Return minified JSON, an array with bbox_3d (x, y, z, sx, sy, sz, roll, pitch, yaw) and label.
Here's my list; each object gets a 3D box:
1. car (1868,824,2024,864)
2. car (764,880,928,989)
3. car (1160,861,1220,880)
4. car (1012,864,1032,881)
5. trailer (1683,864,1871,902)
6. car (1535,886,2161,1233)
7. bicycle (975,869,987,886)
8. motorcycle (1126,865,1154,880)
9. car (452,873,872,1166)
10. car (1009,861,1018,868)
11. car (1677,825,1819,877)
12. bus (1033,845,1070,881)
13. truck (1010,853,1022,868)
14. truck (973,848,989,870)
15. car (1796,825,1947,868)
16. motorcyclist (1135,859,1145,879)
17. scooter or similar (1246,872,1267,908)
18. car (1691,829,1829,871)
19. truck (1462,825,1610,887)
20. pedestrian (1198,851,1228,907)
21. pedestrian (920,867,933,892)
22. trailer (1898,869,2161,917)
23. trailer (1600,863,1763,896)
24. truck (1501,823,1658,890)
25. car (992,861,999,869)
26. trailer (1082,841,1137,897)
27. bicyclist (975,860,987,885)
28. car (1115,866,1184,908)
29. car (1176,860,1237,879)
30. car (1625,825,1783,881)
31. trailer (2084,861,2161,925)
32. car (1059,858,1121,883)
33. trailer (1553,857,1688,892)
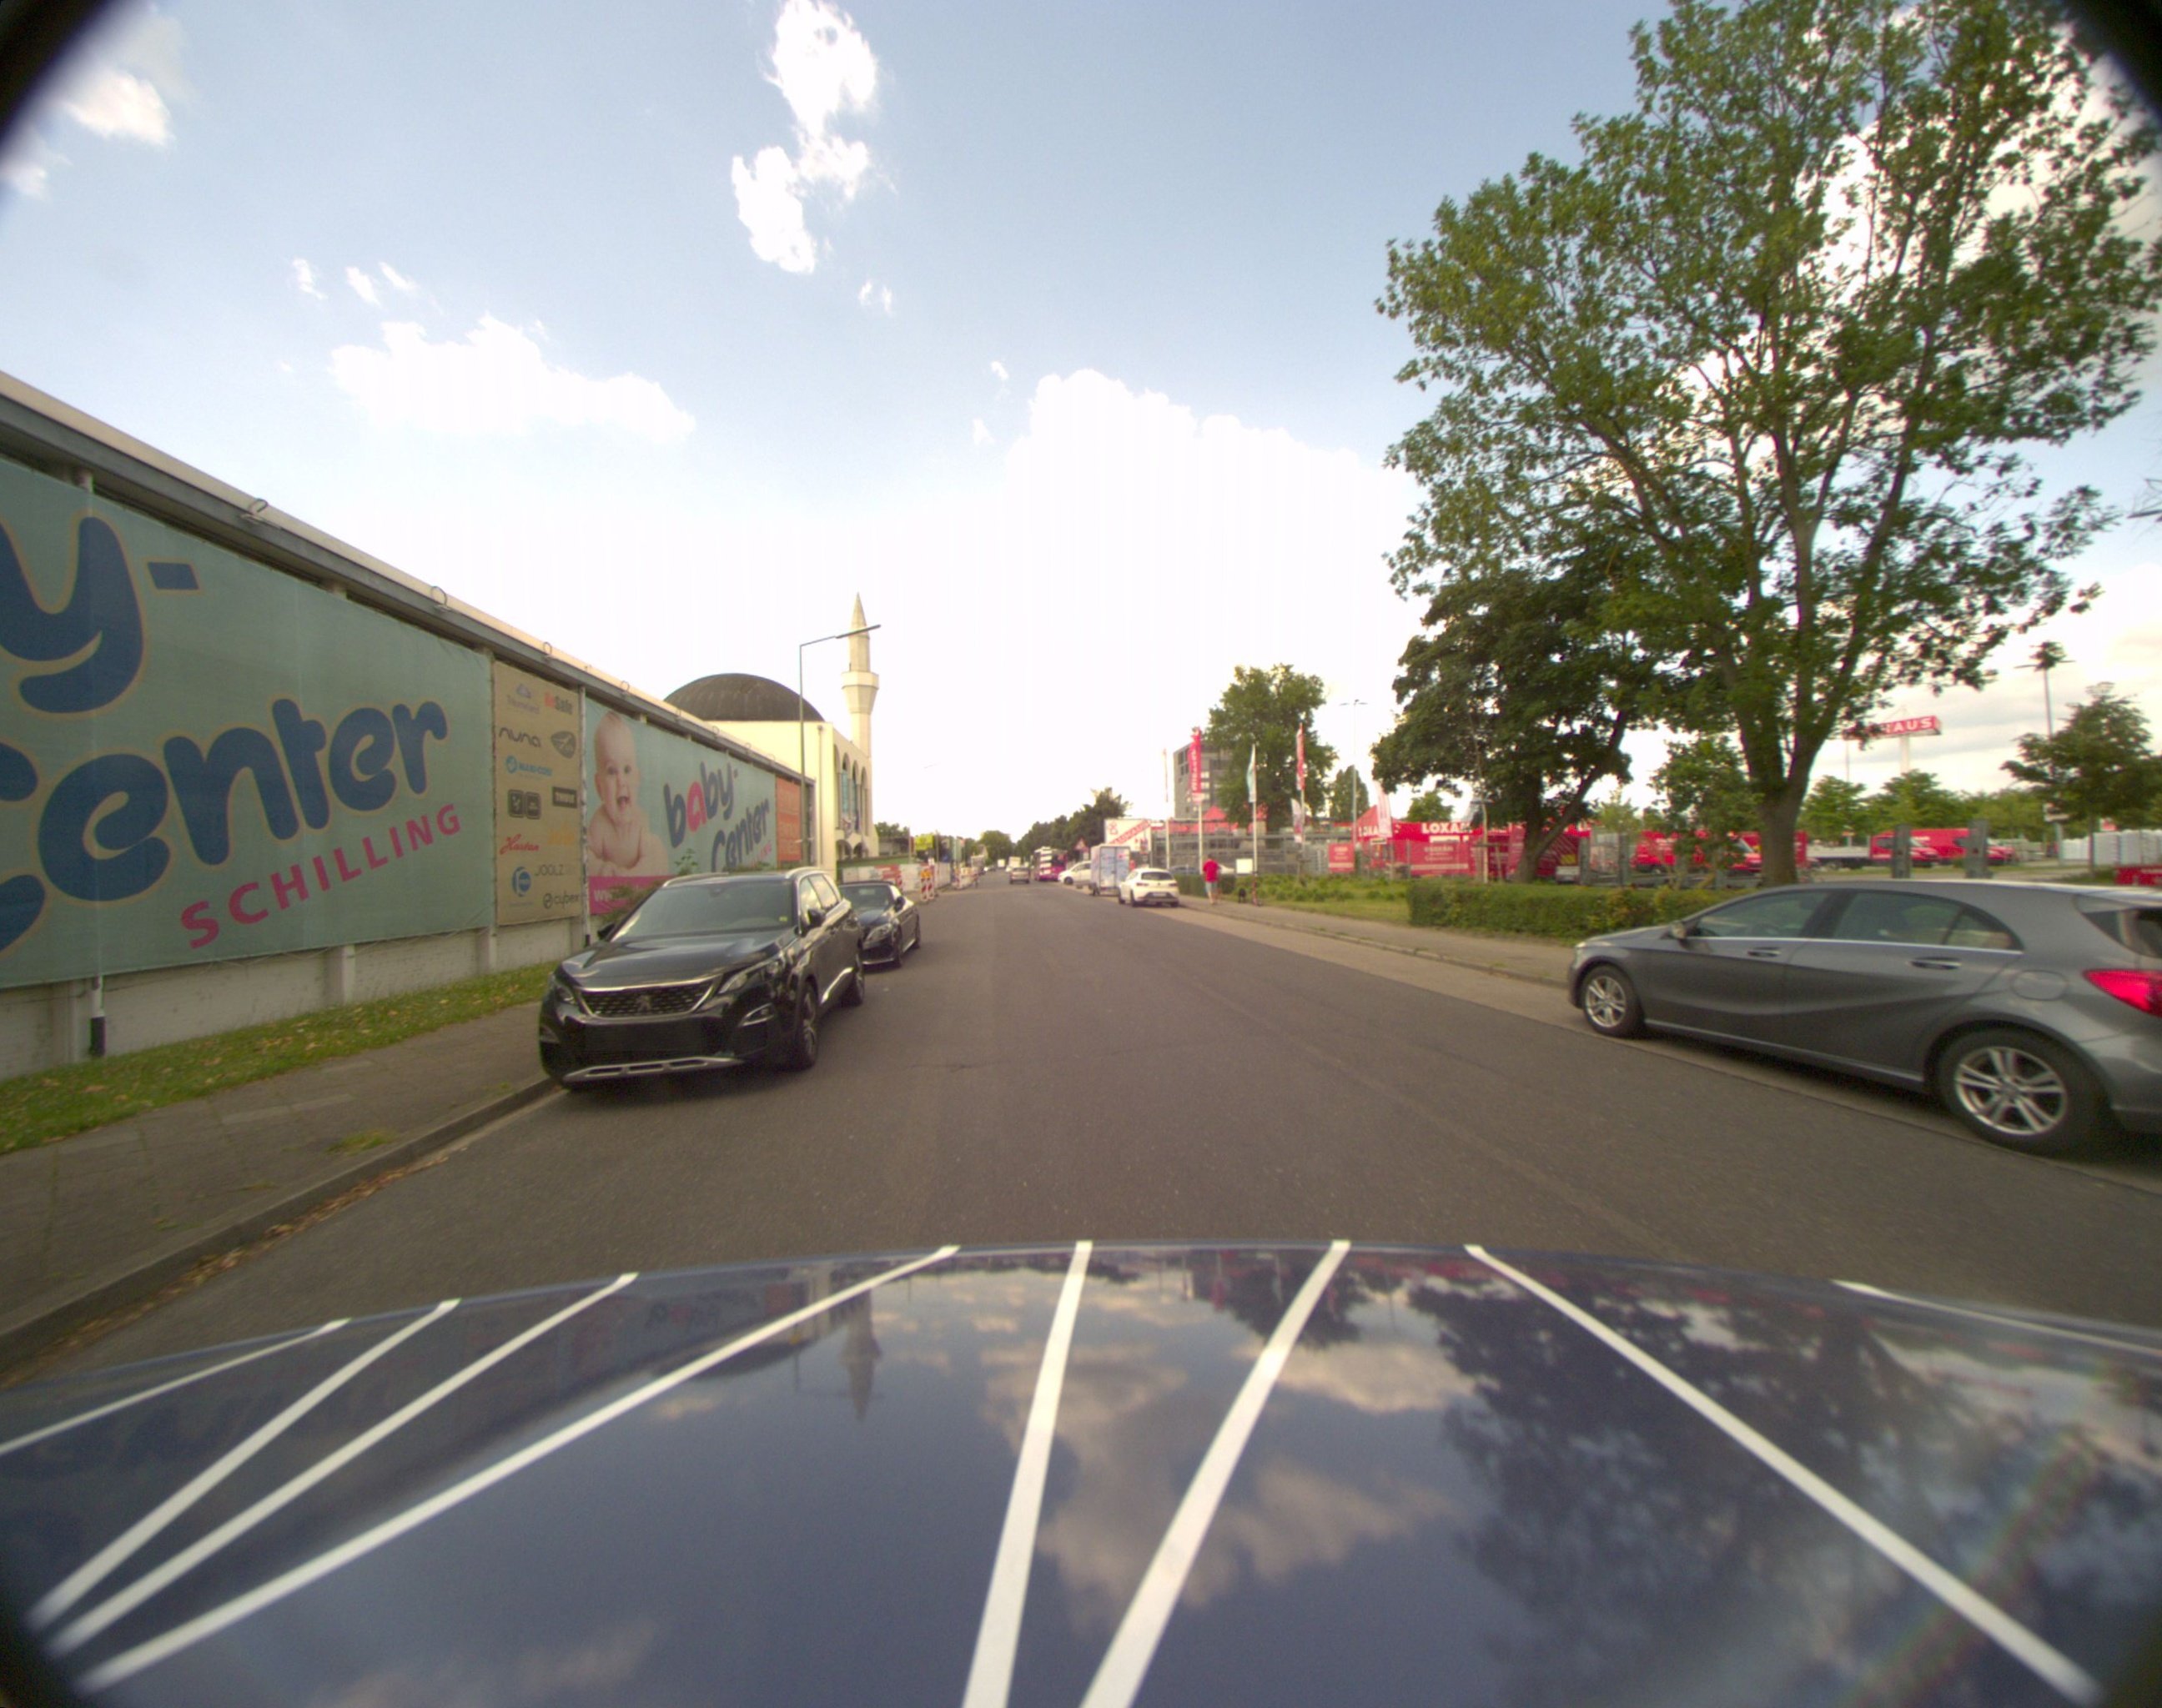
[{"bbox_3d":[55.132,-0.669,48.716,2.273,2.402,6.432,-2,1,-7],"label":"car"},{"bbox_3d":[-3.949,1.266,13.612,1.813,1.382,4.586,-4,0,-5],"label":"car"},{"bbox_3d":[8.556,1.309,59.829,4.379,1.369,1.928,-1,0,-7],"label":"car"},{"bbox_3d":[-5.161,1.605,66.370,1.596,1.456,3.759,0,-1,-7],"label":"car"},{"bbox_3d":[21.146,0.853,23.174,4.248,0.907,2.021,-2,1,-8],"label":"trailer"},{"bbox_3d":[5.507,1.021,5.356,1.715,1.411,4.329,1,-1,-5],"label":"car"},{"bbox_3d":[-7.589,1.777,57.827,0.800,1.173,2.625,-3,0,-7],"label":"bicycle"},{"bbox_3d":[4.950,1.524,64.099,2.228,1.206,0.994,-1,0,-6],"label":"motorcycle"},{"bbox_3d":[-3.275,1.090,7.153,1.814,1.655,4.637,-4,0,-8],"label":"car"},{"bbox_3d":[-14.612,2.184,164.258,1.688,1.461,3.610,0,-1,-7],"label":"car"},{"bbox_3d":[35.663,-0.223,40.904,2.273,2.579,5.719,-2,1,-6],"label":"car"},{"bbox_3d":[-3.253,0.955,79.584,2.671,3.402,13.211,2,-1,-7],"label":"bus"},{"bbox_3d":[-16.367,1.561,190.770,2.756,3.701,7.167,0,0,-7],"label":"truck"},{"bbox_3d":[-19.823,1.074,150.952,2.787,4.092,8.274,-4,0,-7],"label":"truck"},{"bbox_3d":[49.075,-0.505,47.469,2.273,2.402,6.432,-2,1,-7],"label":"car"},{"bbox_3d":[4.968,1.274,64.108,0.676,1.712,0.994,-1,0,-6],"label":"motorcyclist"},{"bbox_3d":[6.083,1.241,26.373,0.518,1.186,1.280,-2,0,5],"label":"scooter or similar"},{"bbox_3d":[41.593,-0.303,46.827,2.273,2.402,6.432,-2,1,-7],"label":"car"},{"bbox_3d":[20.630,0.065,34.552,5.771,2.579,1.814,-1,2,-5],"label":"truck"},{"bbox_3d":[4.777,0.898,27.599,0.812,2.002,0.884,-2,1,-7],"label":"pedestrian"},{"bbox_3d":[-9.725,1.596,47.717,0.683,1.525,1.129,-2,0,-8],"label":"pedestrian"},{"bbox_3d":[22.109,0.849,17.366,4.607,0.907,2.187,-1,-1,-2],"label":"trailer"},{"bbox_3d":[20.903,0.853,26.551,4.248,0.907,2.157,-2,1,-8],"label":"trailer"},{"bbox_3d":[20.494,0.069,31.327,5.564,2.579,1.778,-1,2,-6],"label":"truck"},{"bbox_3d":[-22.995,2.942,203.338,1.798,1.881,3.998,-1,0,-7],"label":"car"},{"bbox_3d":[1.430,0.799,40.362,2.146,2.766,4.700,1,-1,-7],"label":"trailer"},{"bbox_3d":[-7.598,1.394,57.787,0.809,1.782,1.206,-3,1,-7],"label":"bicyclist"},{"bbox_3d":[2.585,1.250,29.780,1.771,1.470,4.232,1,-1,-8],"label":"car"},{"bbox_3d":[10.648,1.305,64.638,4.698,1.445,1.954,-1,0,-6],"label":"car"},{"bbox_3d":[31.341,-0.118,38.618,2.273,2.579,6.433,-2,1,-6],"label":"car"},{"bbox_3d":[22.517,0.719,14.762,3.827,1.183,1.715,-1,-1,-1],"label":"trailer"},{"bbox_3d":[0.746,1.397,63.326,5.013,1.937,1.992,-1,0,-1],"label":"car"},{"bbox_3d":[20.502,0.747,28.933,4.248,1.114,1.670,-2,2,-8],"label":"trailer"}]
